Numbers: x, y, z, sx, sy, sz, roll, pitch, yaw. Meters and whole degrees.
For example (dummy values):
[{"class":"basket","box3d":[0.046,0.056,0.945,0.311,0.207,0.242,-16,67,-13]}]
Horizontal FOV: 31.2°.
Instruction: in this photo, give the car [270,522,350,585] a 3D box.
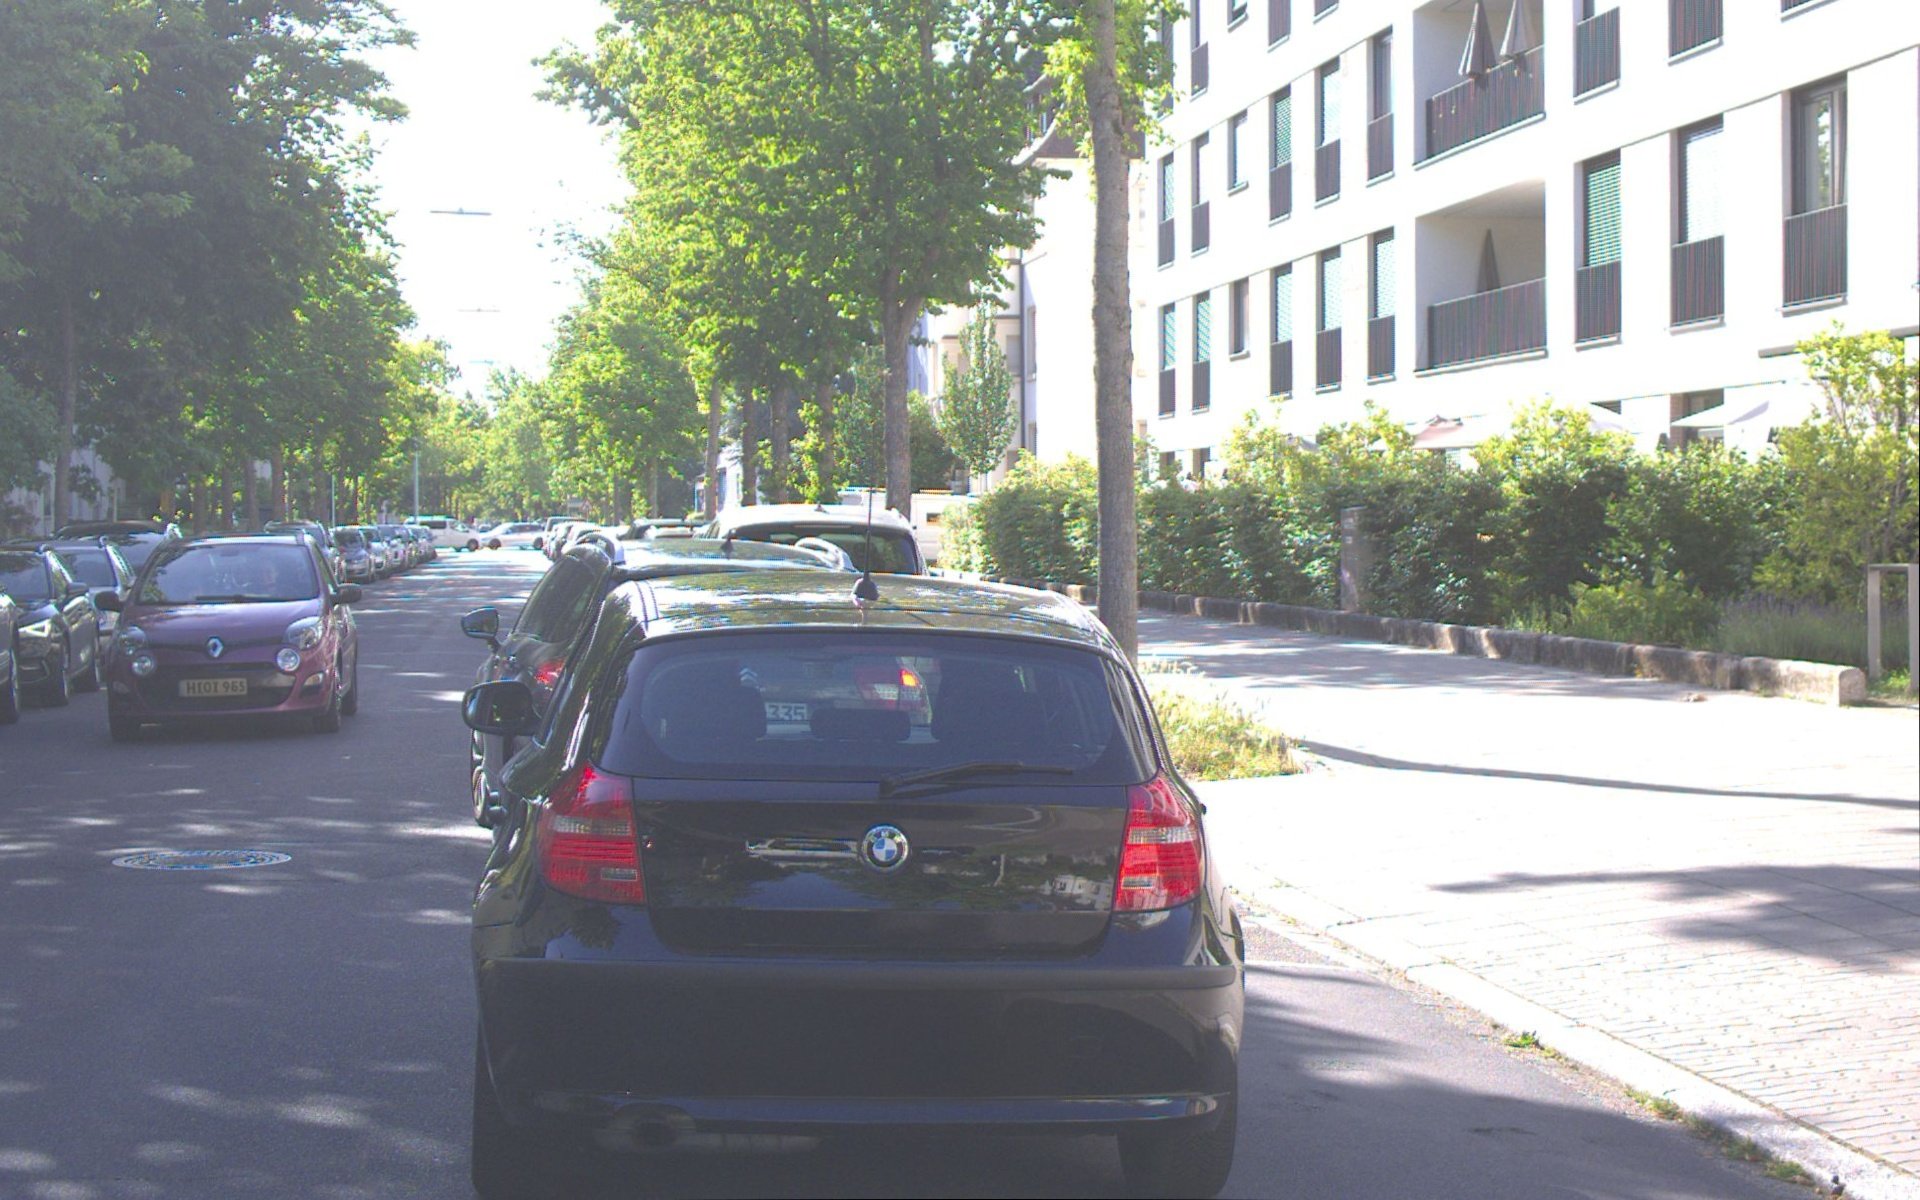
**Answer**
[{"class":"car","box3d":[-15.260,-1.114,80.804,1.612,1.387,3.867,-2,2,-8]}]

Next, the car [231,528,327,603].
[{"class":"car","box3d":[-13.472,-0.700,68.155,1.612,1.387,3.867,-2,2,-8]}]

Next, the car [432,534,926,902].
[{"class":"car","box3d":[-1.424,0.432,15.902,1.649,1.420,4.002,-1,2,-14]}]

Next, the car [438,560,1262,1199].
[{"class":"car","box3d":[-0.435,0.637,8.622,1.649,1.392,3.412,-1,2,-8]}]

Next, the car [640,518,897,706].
[{"class":"car","box3d":[-1.732,0.055,29.909,1.693,1.518,4.001,0,1,-11]}]

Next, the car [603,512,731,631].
[{"class":"car","box3d":[-4.309,-0.445,50.190,1.720,1.635,3.852,2,1,-6]}]

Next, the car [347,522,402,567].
[{"class":"car","box3d":[-19.014,-1.806,111.692,1.612,1.387,3.867,-1,2,-8]}]

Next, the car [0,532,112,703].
[{"class":"car","box3d":[-8.770,0.126,31.233,1.612,1.422,4.059,-2,2,-8]}]

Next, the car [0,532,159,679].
[{"class":"car","box3d":[-9.475,0.026,36.279,1.612,1.422,3.727,-2,2,-8]}]

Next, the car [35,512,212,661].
[{"class":"car","box3d":[-10.086,-0.204,41.683,1.612,1.673,4.235,-2,2,-8]}]

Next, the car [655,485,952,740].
[{"class":"car","box3d":[-1.195,0.049,24.236,1.847,1.625,4.411,0,1,-6]}]

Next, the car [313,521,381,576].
[{"class":"car","box3d":[-16.415,-1.402,92.183,1.612,1.387,3.867,-2,2,-8]}]

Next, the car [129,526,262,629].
[{"class":"car","box3d":[-11.505,-0.373,51.903,1.612,1.447,3.867,-2,2,-8]}]

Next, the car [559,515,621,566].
[{"class":"car","box3d":[-11.264,-1.836,104.951,1.720,1.475,3.852,-1,2,-4]}]

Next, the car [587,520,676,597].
[{"class":"car","box3d":[-6.708,-0.865,69.952,1.720,1.475,3.852,2,1,-6]}]

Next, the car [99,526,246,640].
[{"class":"car","box3d":[-10.802,-0.272,47.343,1.612,1.447,3.867,-2,2,-8]}]

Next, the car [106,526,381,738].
[{"class":"car","box3d":[-5.231,0.187,25.406,1.505,1.421,3.178,-1,2,-3]}]

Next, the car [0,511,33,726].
[{"class":"car","box3d":[-8.069,0.156,25.968,1.612,1.606,4.231,-2,2,-10]}]

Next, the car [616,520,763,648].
[{"class":"car","box3d":[-3.520,-0.247,44.235,1.720,1.523,4.001,2,1,-6]}]

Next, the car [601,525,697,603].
[{"class":"car","box3d":[-5.924,-0.705,65.225,1.720,1.374,3.852,2,1,-6]}]
